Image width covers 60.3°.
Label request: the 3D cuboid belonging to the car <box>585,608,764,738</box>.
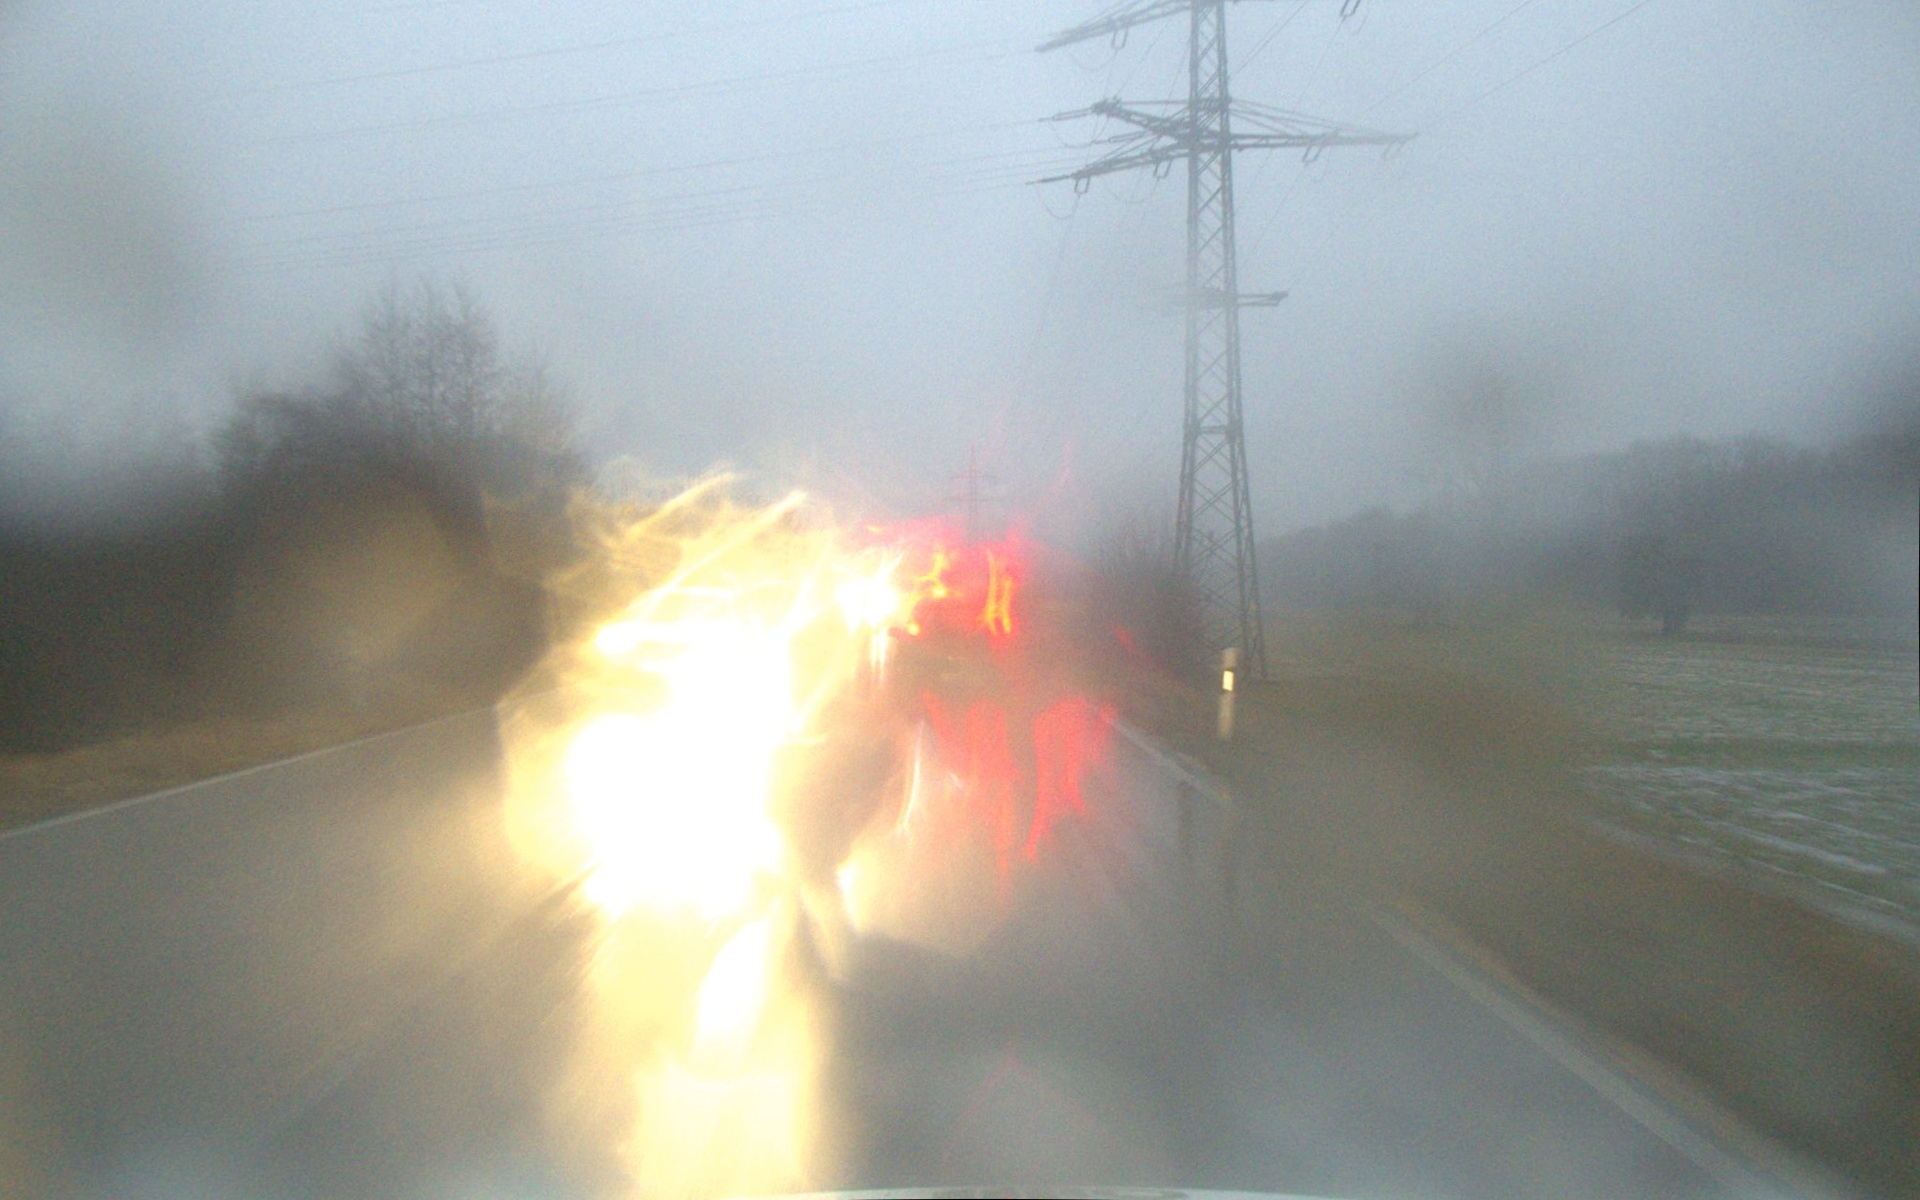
[{"bbox_3d":[-3.937,0.950,23.494,1.771,1.563,4.407,2,0,-1],"label":"car"}]

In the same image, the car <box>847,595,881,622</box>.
[{"bbox_3d":[-5.581,0.501,96.809,1.791,1.434,3.999,1,-1,-1],"label":"car"}]

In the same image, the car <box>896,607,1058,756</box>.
[{"bbox_3d":[0.172,0.996,22.008,1.953,1.783,3.999,0,0,-1],"label":"car"}]

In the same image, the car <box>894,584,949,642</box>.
[{"bbox_3d":[-1.412,0.472,61.236,1.953,2.049,3.999,-1,0,-1],"label":"car"}]
